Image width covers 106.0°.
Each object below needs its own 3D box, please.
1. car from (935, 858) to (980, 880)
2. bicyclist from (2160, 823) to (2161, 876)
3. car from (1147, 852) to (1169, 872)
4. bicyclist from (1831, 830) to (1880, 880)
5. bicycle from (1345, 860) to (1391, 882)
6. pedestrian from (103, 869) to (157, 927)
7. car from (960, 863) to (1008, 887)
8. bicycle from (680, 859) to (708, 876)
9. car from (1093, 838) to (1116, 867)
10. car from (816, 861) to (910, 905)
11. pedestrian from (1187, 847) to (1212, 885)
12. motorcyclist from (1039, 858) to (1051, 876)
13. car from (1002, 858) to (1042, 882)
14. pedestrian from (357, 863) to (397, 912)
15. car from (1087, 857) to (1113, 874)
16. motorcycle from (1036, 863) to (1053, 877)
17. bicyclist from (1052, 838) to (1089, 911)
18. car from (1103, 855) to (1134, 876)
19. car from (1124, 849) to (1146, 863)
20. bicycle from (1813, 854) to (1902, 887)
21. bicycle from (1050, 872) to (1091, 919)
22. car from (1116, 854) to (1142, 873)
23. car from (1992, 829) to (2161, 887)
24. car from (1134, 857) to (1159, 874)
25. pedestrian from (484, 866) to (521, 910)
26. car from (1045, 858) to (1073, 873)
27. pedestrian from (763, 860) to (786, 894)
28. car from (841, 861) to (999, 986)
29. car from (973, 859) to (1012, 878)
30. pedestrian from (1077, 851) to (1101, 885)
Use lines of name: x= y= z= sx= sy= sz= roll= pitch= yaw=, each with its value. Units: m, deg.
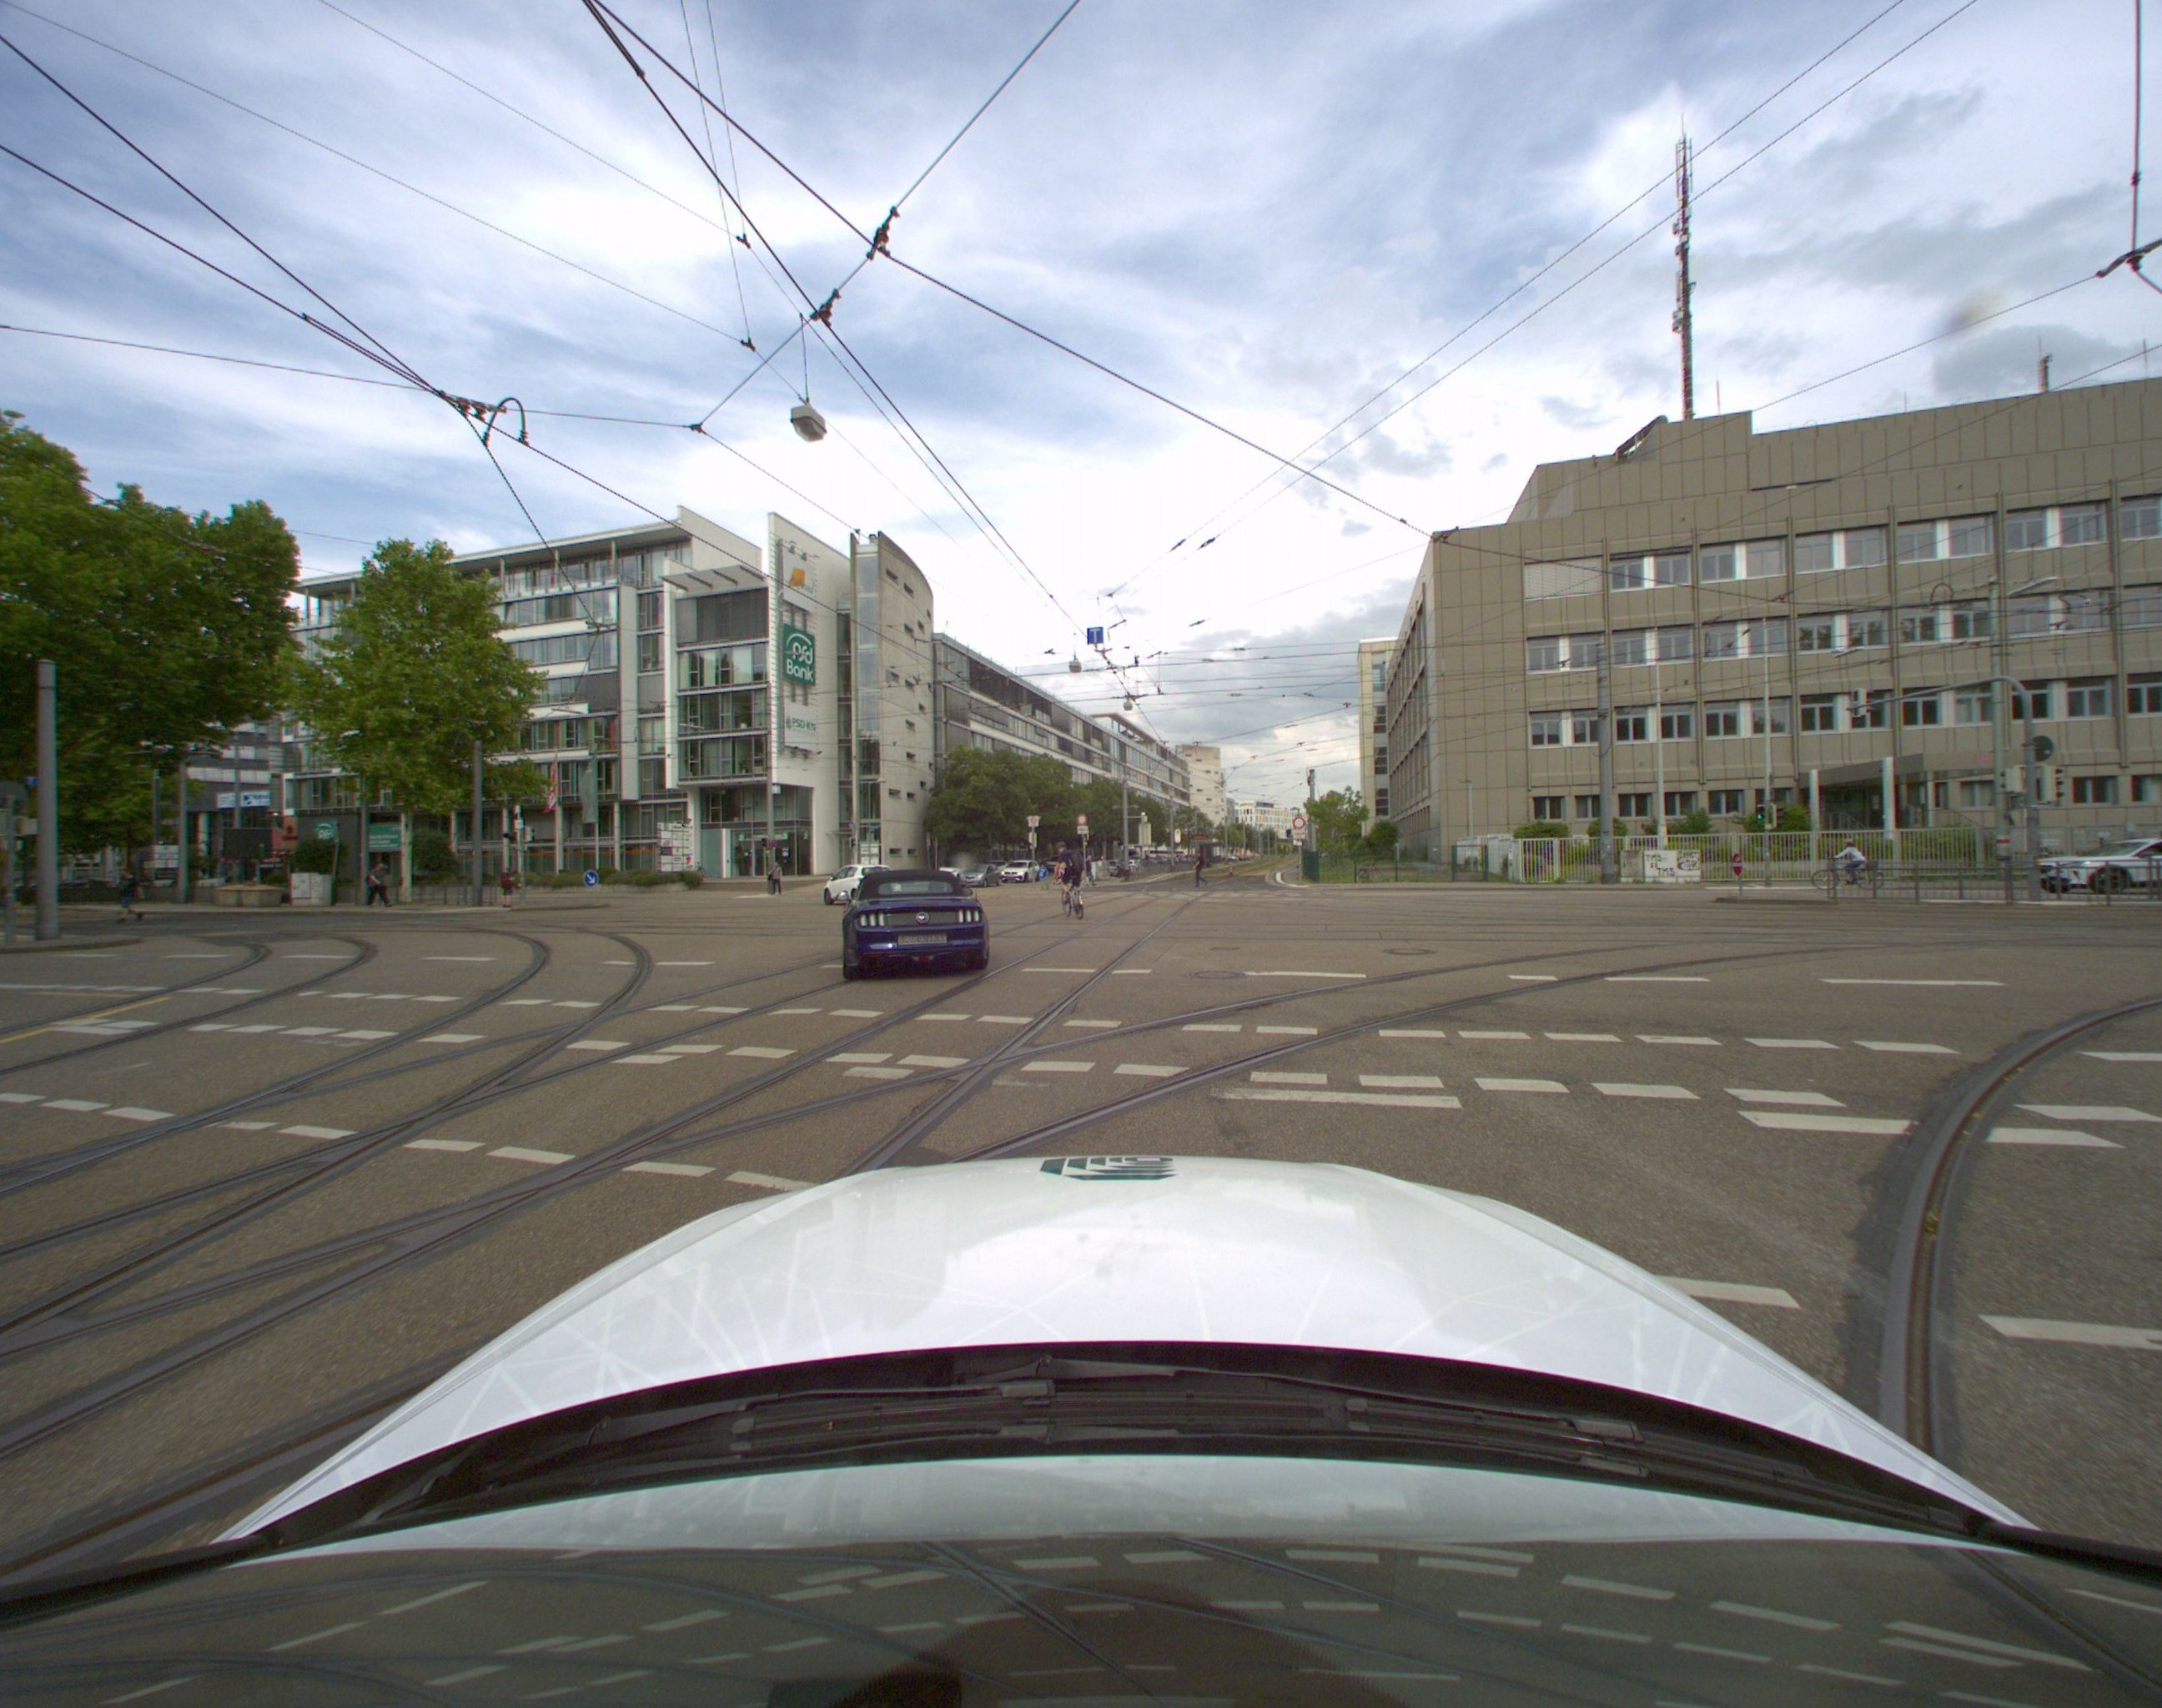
car: x=-9.437 y=1.134 z=62.635 sx=1.816 sy=1.556 sz=4.234 roll=1 pitch=0 yaw=16
bicyclist: x=32.463 y=-0.152 z=23.523 sx=1.313 sy=1.550 sz=0.807 roll=-2 pitch=-1 yaw=20
car: x=7.994 y=0.856 z=84.385 sx=1.773 sy=1.987 sz=4.134 roll=-2 pitch=0 yaw=12
bicyclist: x=26.738 y=0.027 z=28.118 sx=0.807 sy=1.701 sz=1.168 roll=-1 pitch=0 yaw=-41
bicycle: x=13.778 y=0.831 z=39.171 sx=0.636 sy=0.981 sz=2.137 roll=-1 pitch=-3 yaw=-30
pedestrian: x=-32.148 y=1.466 z=27.543 sx=0.795 sy=1.899 sz=1.009 roll=-2 pitch=-1 yaw=27
car: x=-6.384 y=1.355 z=53.993 sx=1.655 sy=1.506 sz=4.252 roll=1 pitch=0 yaw=16
bicycle: x=-27.941 y=0.976 z=58.805 sx=0.580 sy=1.177 sz=2.122 roll=0 pitch=-1 yaw=14
car: x=3.070 y=-0.228 z=105.626 sx=1.972 sy=3.636 sz=4.529 roll=1 pitch=0 yaw=13
car: x=-8.112 y=1.045 z=30.119 sx=1.850 sy=1.439 sz=4.139 roll=-1 pitch=-1 yaw=-39
pedestrian: x=6.123 y=0.612 z=42.046 sx=1.076 sy=1.898 sz=0.906 roll=-2 pitch=-1 yaw=21
motorcyclist: x=-3.286 y=1.220 z=74.189 sx=0.813 sy=1.616 sz=0.886 roll=0 pitch=0 yaw=16
car: x=-4.376 y=1.186 z=61.189 sx=1.702 sy=1.660 sz=4.150 roll=1 pitch=0 yaw=16
pedestrian: x=-27.916 y=1.319 z=32.293 sx=0.837 sy=1.855 sz=0.843 roll=-2 pitch=-1 yaw=10
car: x=1.972 y=1.140 z=82.789 sx=1.702 sy=1.660 sz=4.150 roll=1 pitch=0 yaw=16
motorcycle: x=-3.302 y=1.444 z=74.135 sx=0.819 sy=1.200 sz=2.513 roll=0 pitch=0 yaw=16
bicyclist: x=-0.281 y=0.518 z=20.840 sx=0.795 sy=1.785 sz=1.230 roll=-1 pitch=-1 yaw=-7
car: x=3.119 y=0.920 z=66.558 sx=1.867 sy=1.628 sz=4.100 roll=-2 pitch=0 yaw=12
car: x=6.749 y=0.245 z=100.784 sx=1.889 sy=1.585 sz=4.199 roll=1 pitch=0 yaw=16
bicycle: x=26.756 y=0.543 z=28.085 sx=0.807 sy=1.086 sz=2.158 roll=-1 pitch=0 yaw=-41
bicycle: x=-0.291 y=1.022 z=20.857 sx=0.800 sy=1.086 sz=2.126 roll=-1 pitch=0 yaw=-7
car: x=4.306 y=0.818 z=72.124 sx=1.693 sy=1.606 sz=4.092 roll=-2 pitch=0 yaw=12
car: x=28.470 y=0.087 z=22.242 sx=4.371 sy=1.504 sz=2.009 roll=-1 pitch=0 yaw=18
car: x=6.424 y=1.095 z=79.627 sx=1.855 sy=1.606 sz=4.226 roll=-2 pitch=0 yaw=12
pedestrian: x=-22.569 y=1.320 z=31.776 sx=0.926 sy=1.671 sz=0.770 roll=-2 pitch=-1 yaw=24
car: x=-2.328 y=1.181 z=87.246 sx=1.972 sy=1.556 sz=4.529 roll=1 pitch=0 yaw=13
pedestrian: x=-16.923 y=1.259 z=44.940 sx=0.826 sy=1.865 sz=0.770 roll=-2 pitch=-1 yaw=24
car: x=-2.540 y=0.845 z=11.989 sx=1.880 sy=1.404 sz=4.258 roll=-1 pitch=0 yaw=-17
car: x=-7.545 y=1.199 z=69.687 sx=1.816 sy=1.556 sz=4.234 roll=1 pitch=0 yaw=16
pedestrian: x=0.460 y=0.784 z=45.978 sx=0.980 sy=1.855 sz=0.907 roll=-2 pitch=-1 yaw=26
